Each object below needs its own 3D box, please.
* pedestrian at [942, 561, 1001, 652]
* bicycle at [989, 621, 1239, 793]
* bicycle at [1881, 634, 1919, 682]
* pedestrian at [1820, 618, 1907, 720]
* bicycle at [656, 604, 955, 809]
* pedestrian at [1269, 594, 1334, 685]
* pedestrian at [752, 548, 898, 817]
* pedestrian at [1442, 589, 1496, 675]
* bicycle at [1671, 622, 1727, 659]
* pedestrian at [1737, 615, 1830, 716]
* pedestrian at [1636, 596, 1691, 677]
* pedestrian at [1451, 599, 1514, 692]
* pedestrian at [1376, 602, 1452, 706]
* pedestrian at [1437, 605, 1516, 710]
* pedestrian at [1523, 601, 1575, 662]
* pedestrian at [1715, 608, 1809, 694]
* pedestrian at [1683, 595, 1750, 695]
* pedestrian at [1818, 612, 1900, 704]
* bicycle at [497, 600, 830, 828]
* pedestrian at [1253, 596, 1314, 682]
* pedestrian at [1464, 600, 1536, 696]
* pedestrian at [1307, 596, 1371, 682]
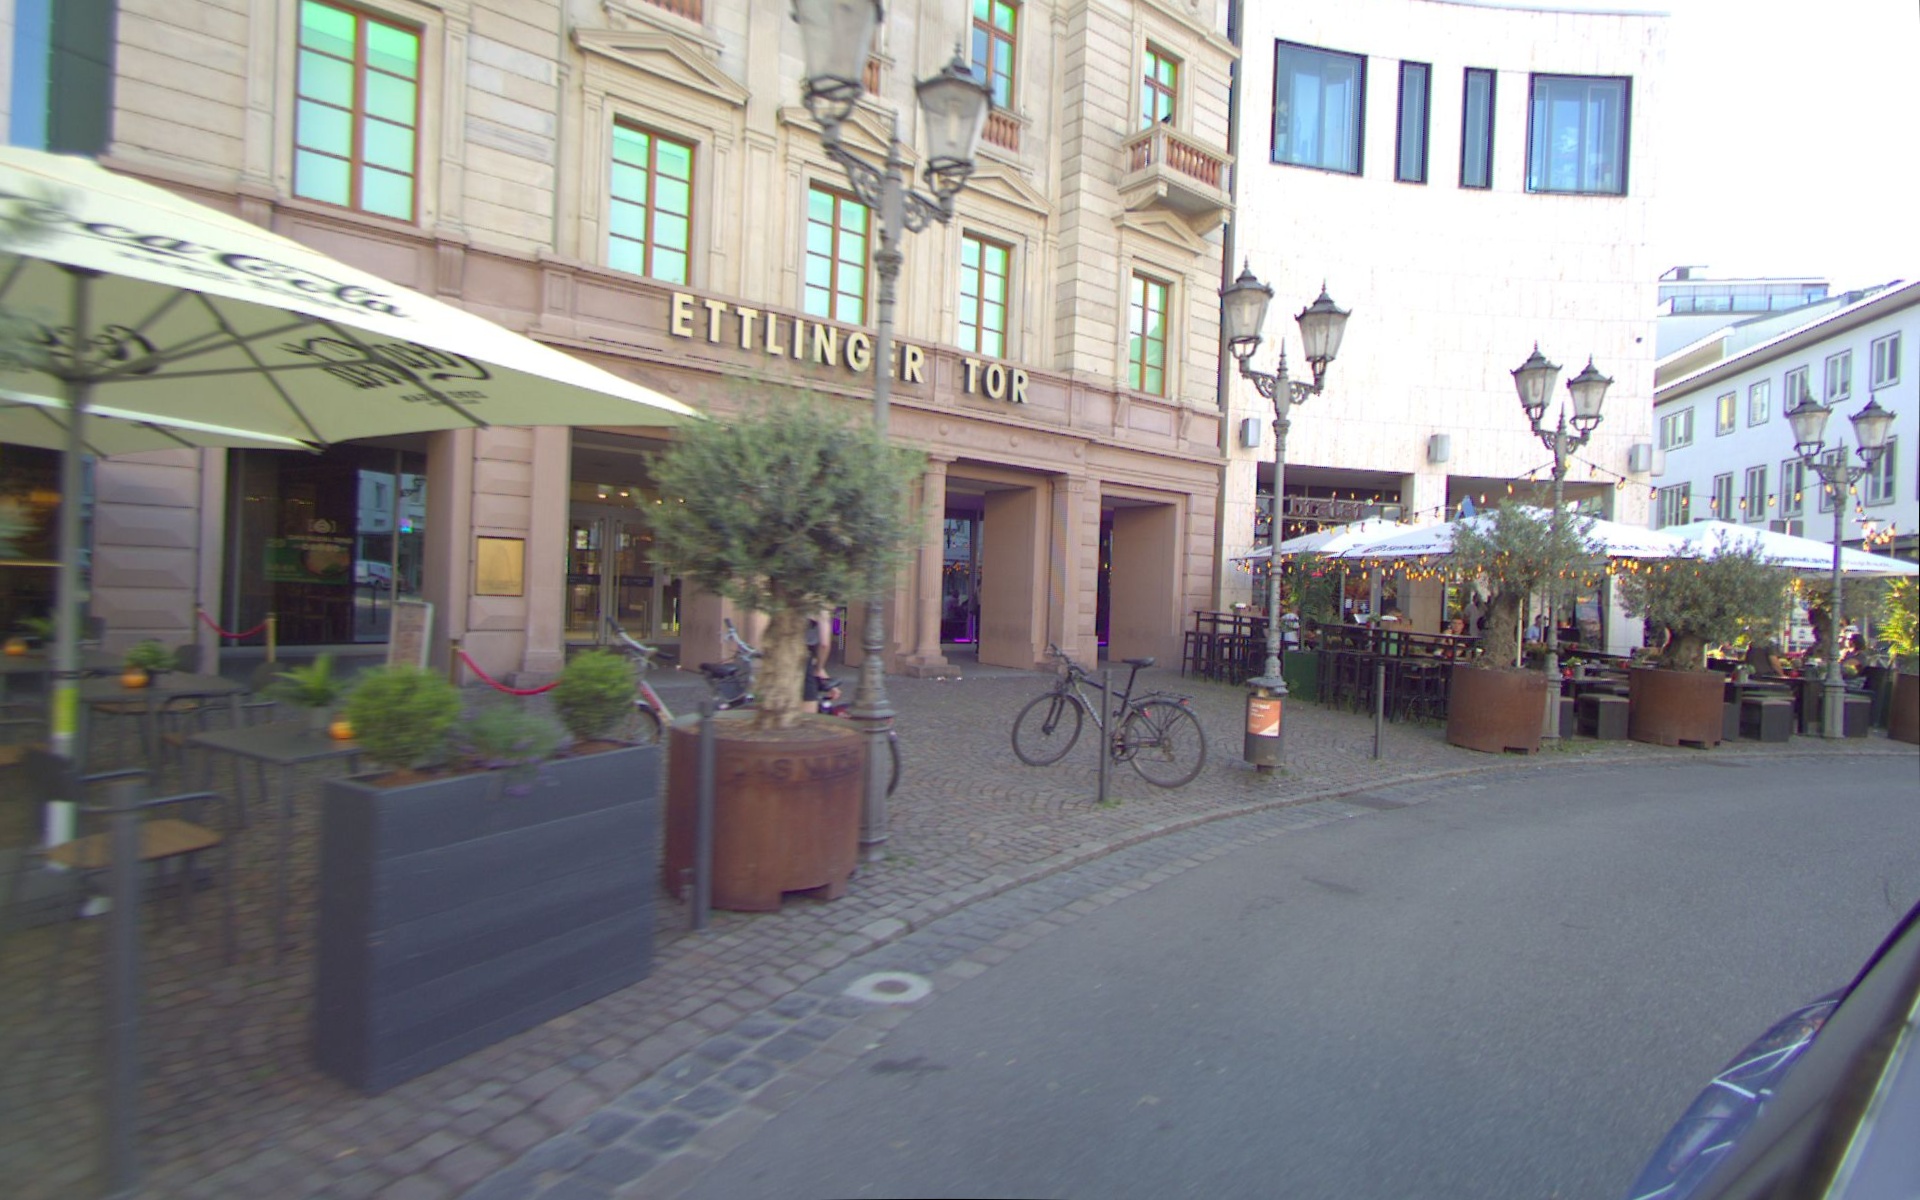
[{"bbox_3d":[0.222,0.121,20.084,0.855,1.769,0.716,2,0,-36],"label":"pedestrian"},{"bbox_3d":[1.247,0.825,8.344,1.888,1.142,0.601,5,1,27],"label":"bicycle"},{"bbox_3d":[24.640,1.501,25.919,0.514,1.156,1.960,2,1,8],"label":"bicycle"},{"bbox_3d":[13.744,1.034,15.412,0.683,1.465,0.720,2,0,15],"label":"pedestrian"},{"bbox_3d":[-1.049,0.668,6.901,1.880,1.142,0.604,4,1,16],"label":"bicycle"},{"bbox_3d":[5.763,0.655,17.124,0.837,1.465,0.774,2,0,5],"label":"pedestrian"},{"bbox_3d":[-0.855,0.498,6.570,0.703,1.608,0.748,2,0,9],"label":"pedestrian"},{"bbox_3d":[10.775,0.669,21.428,0.702,1.769,0.710,2,0,-3],"label":"pedestrian"},{"bbox_3d":[26.844,1.455,36.803,0.787,1.232,2.224,2,1,14],"label":"bicycle"},{"bbox_3d":[12.750,0.992,15.698,0.853,1.465,0.720,2,0,15],"label":"pedestrian"},{"bbox_3d":[16.017,0.819,23.054,0.703,1.769,0.709,2,0,3],"label":"pedestrian"},{"bbox_3d":[10.674,0.914,20.691,0.834,1.825,0.730,2,0,-1],"label":"pedestrian"},{"bbox_3d":[6.703,0.774,14.975,0.853,1.465,0.720,2,0,15],"label":"pedestrian"},{"bbox_3d":[7.667,0.834,15.065,0.853,1.465,0.720,2,0,15],"label":"pedestrian"},{"bbox_3d":[13.702,0.720,23.548,0.770,1.366,0.709,2,0,5],"label":"pedestrian"},{"bbox_3d":[14.613,0.905,18.475,0.929,1.465,0.970,2,0,6],"label":"pedestrian"},{"bbox_3d":[13.875,0.801,18.580,0.706,1.769,0.707,2,0,13],"label":"pedestrian"},{"bbox_3d":[18.191,1.152,20.487,0.902,1.763,0.936,2,0,-26],"label":"pedestrian"},{"bbox_3d":[-1.819,0.640,6.225,1.880,1.142,0.604,4,1,16],"label":"bicycle"},{"bbox_3d":[5.736,0.678,17.998,0.838,1.465,0.773,2,0,6],"label":"pedestrian"},{"bbox_3d":[10.661,0.931,20.013,0.963,1.825,0.729,2,0,-2],"label":"pedestrian"},{"bbox_3d":[6.708,0.676,17.961,0.838,1.465,0.773,2,0,6],"label":"pedestrian"}]
